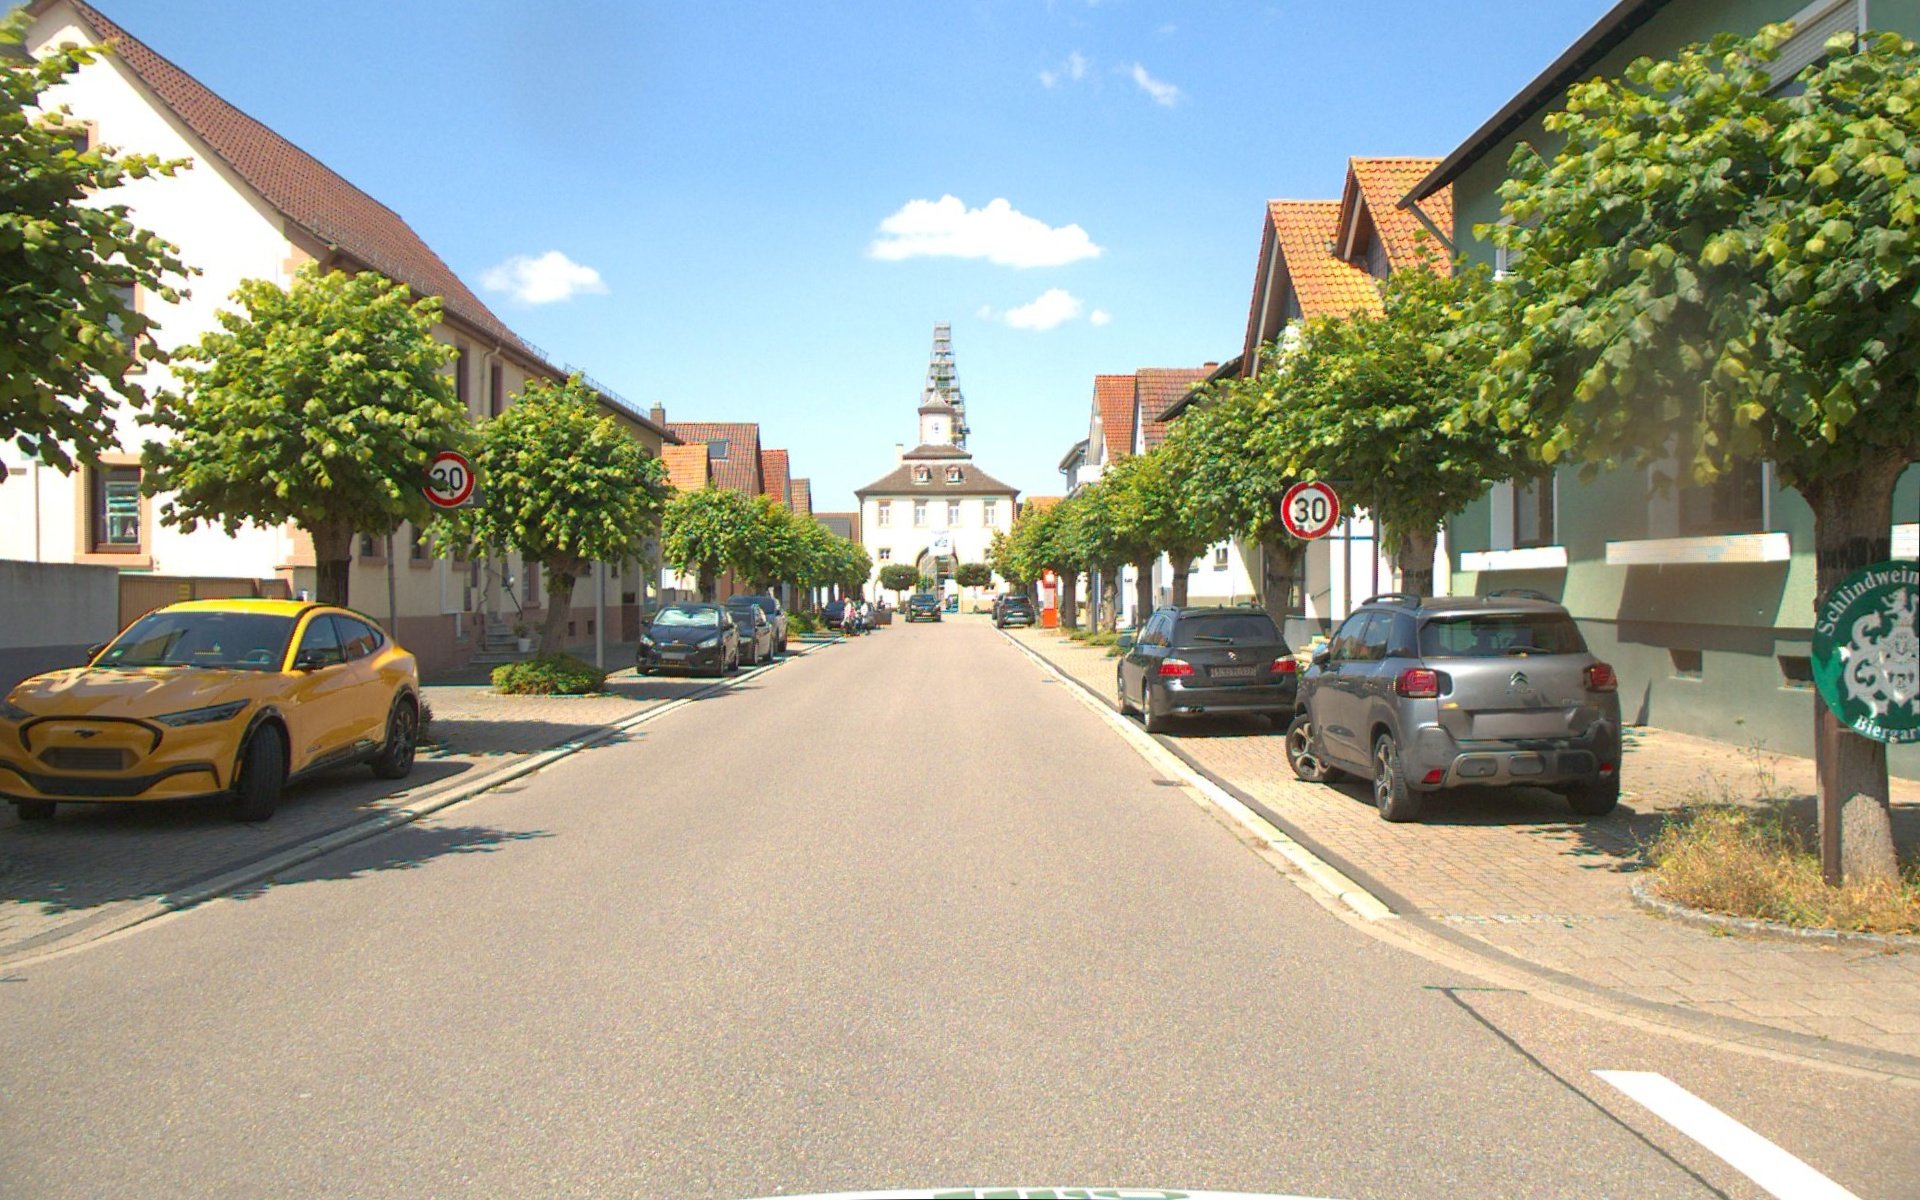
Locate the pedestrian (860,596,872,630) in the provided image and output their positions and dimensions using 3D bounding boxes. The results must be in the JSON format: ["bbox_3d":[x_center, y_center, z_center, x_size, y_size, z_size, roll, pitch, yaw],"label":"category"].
[{"bbox_3d":[-3.935,0.528,69.245,0.352,1.427,0.319,0,0,37],"label":"pedestrian"}]

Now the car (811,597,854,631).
[{"bbox_3d":[-5.992,0.635,78.014,1.721,1.582,4.020,0,0,0],"label":"car"}]

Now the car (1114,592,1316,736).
[{"bbox_3d":[3.110,0.717,20.999,1.800,1.582,4.313,-2,0,-1],"label":"car"}]

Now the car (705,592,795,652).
[{"bbox_3d":[-6.007,0.591,47.829,1.952,1.639,4.689,0,0,0],"label":"car"}]

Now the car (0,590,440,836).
[{"bbox_3d":[-6.056,0.770,13.693,1.952,1.639,4.689,1,0,1],"label":"car"}]

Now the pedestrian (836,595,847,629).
[{"bbox_3d":[-4.869,0.491,67.977,0.352,1.427,0.319,0,0,37],"label":"pedestrian"}]

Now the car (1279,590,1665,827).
[{"bbox_3d":[3.921,0.739,13.407,1.800,1.636,3.999,0,0,-2],"label":"car"}]

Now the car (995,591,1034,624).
[{"bbox_3d":[2.741,0.346,83.780,1.800,1.582,4.313,-2,0,0],"label":"car"}]

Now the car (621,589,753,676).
[{"bbox_3d":[-5.727,0.628,35.254,1.952,1.639,4.689,1,1,1],"label":"car"}]

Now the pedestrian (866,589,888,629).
[{"bbox_3d":[-4.317,0.471,86.358,0.823,2.049,0.879,2,-1,-28],"label":"pedestrian"}]

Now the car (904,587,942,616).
[{"bbox_3d":[-2.244,0.127,98.560,1.954,1.639,4.501,1,-1,-5],"label":"car"}]

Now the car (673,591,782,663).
[{"bbox_3d":[-5.674,0.653,40.922,1.952,1.639,4.689,1,-1,1],"label":"car"}]

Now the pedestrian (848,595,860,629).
[{"bbox_3d":[-4.424,0.513,69.161,0.352,1.427,0.319,0,0,37],"label":"pedestrian"}]
